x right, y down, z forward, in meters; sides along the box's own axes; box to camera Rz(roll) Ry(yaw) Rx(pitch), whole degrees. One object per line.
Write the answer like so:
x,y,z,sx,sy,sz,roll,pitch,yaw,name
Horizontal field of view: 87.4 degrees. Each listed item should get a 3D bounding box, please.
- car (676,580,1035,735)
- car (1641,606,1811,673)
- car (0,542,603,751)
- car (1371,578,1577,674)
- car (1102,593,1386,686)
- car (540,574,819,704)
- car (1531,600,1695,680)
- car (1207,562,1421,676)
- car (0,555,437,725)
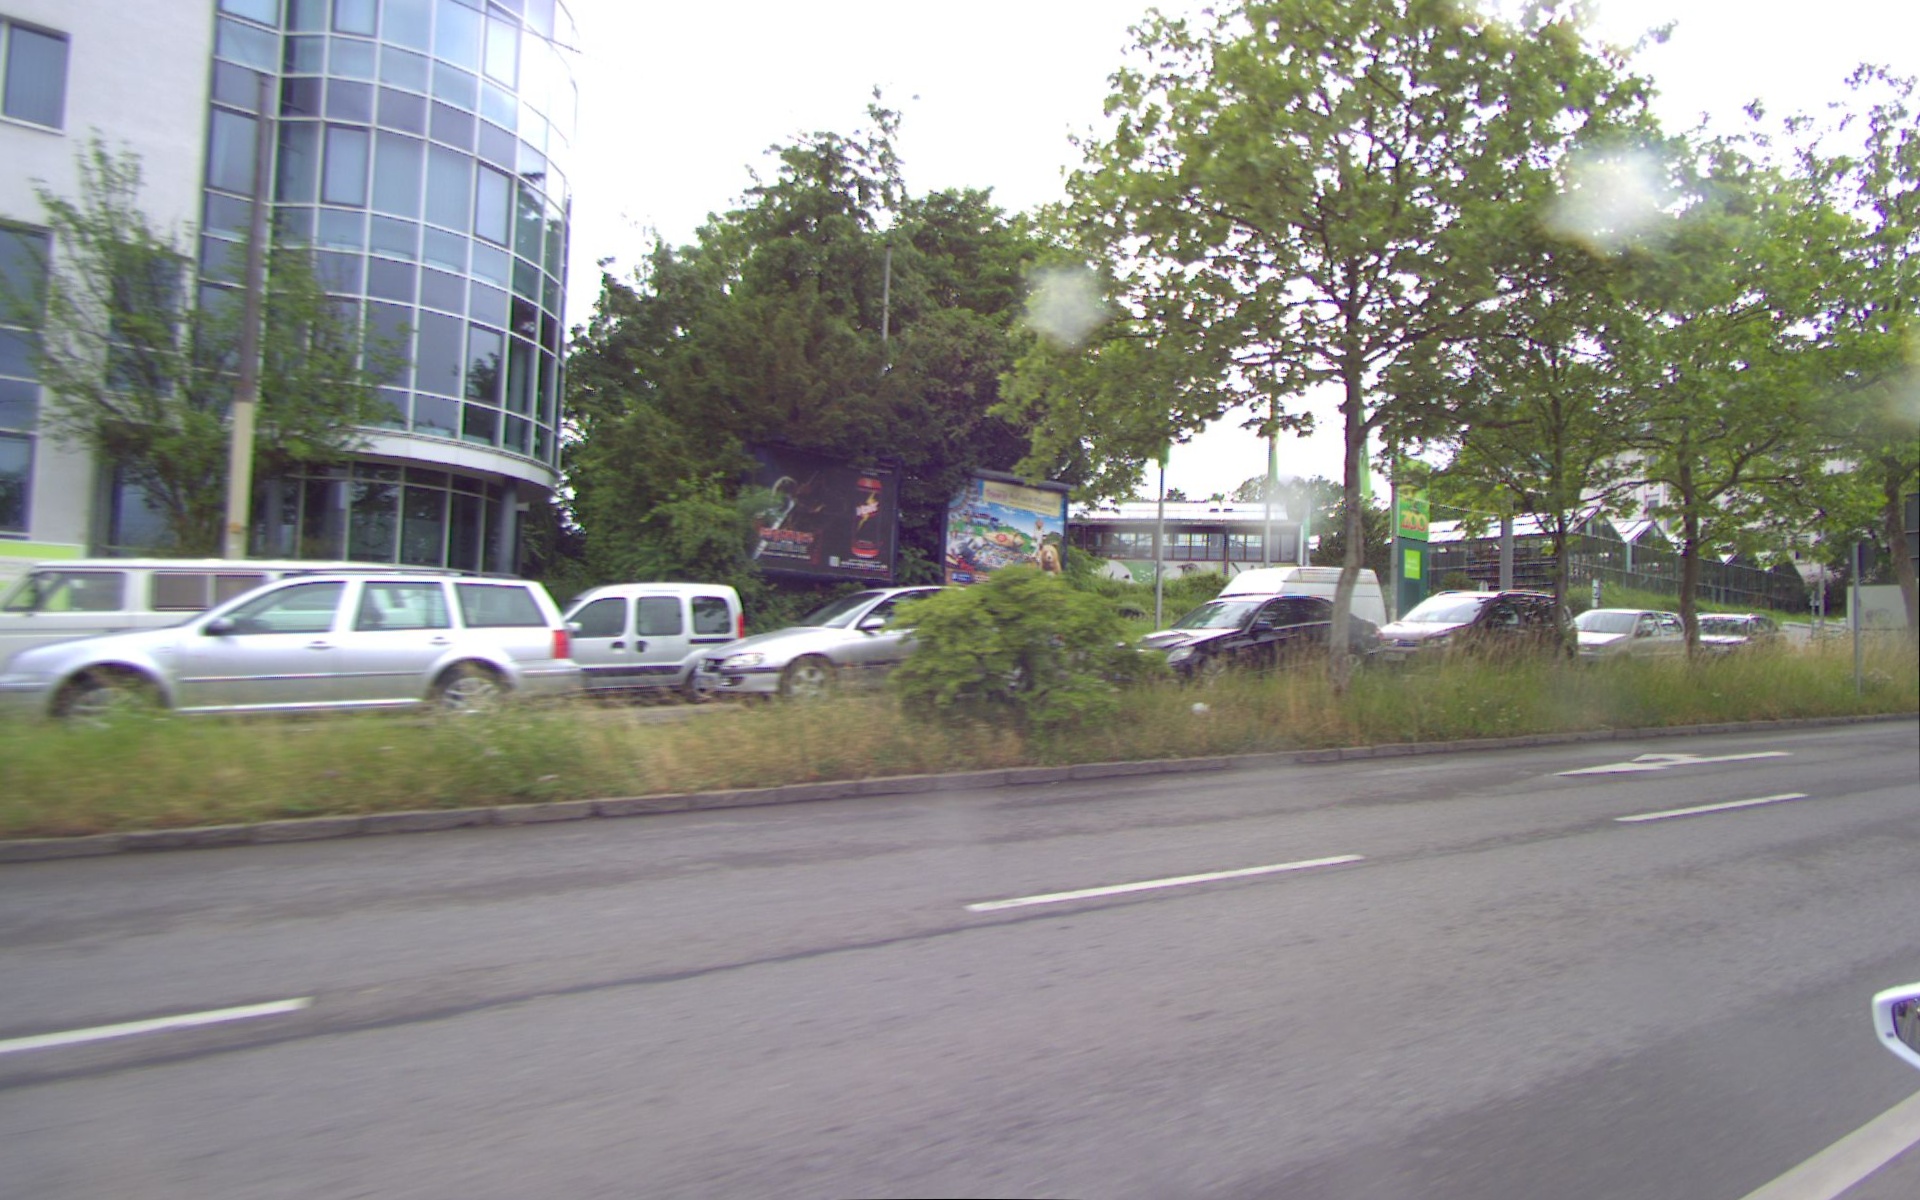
-1.170,0.616,11.886,3.947,1.560,1.583,0,-2,-32,car
17.629,0.932,23.056,4.492,1.309,1.530,4,-3,-30,car
-5.618,0.370,8.936,4.392,1.497,1.639,0,-2,-31,car
9.167,0.514,17.864,3.605,1.471,1.645,4,-3,-32,car
4.294,0.579,15.030,4.169,1.221,1.690,1,-2,-30,car
-4.135,0.554,14.971,3.739,1.718,1.583,0,-2,-32,car
13.158,0.842,20.184,3.667,1.413,1.353,4,-3,-32,car
8.616,0.469,24.205,5.598,2.475,1.951,1,-2,-35,car
-8.963,0.454,12.197,4.533,1.769,1.761,0,-2,-32,car
